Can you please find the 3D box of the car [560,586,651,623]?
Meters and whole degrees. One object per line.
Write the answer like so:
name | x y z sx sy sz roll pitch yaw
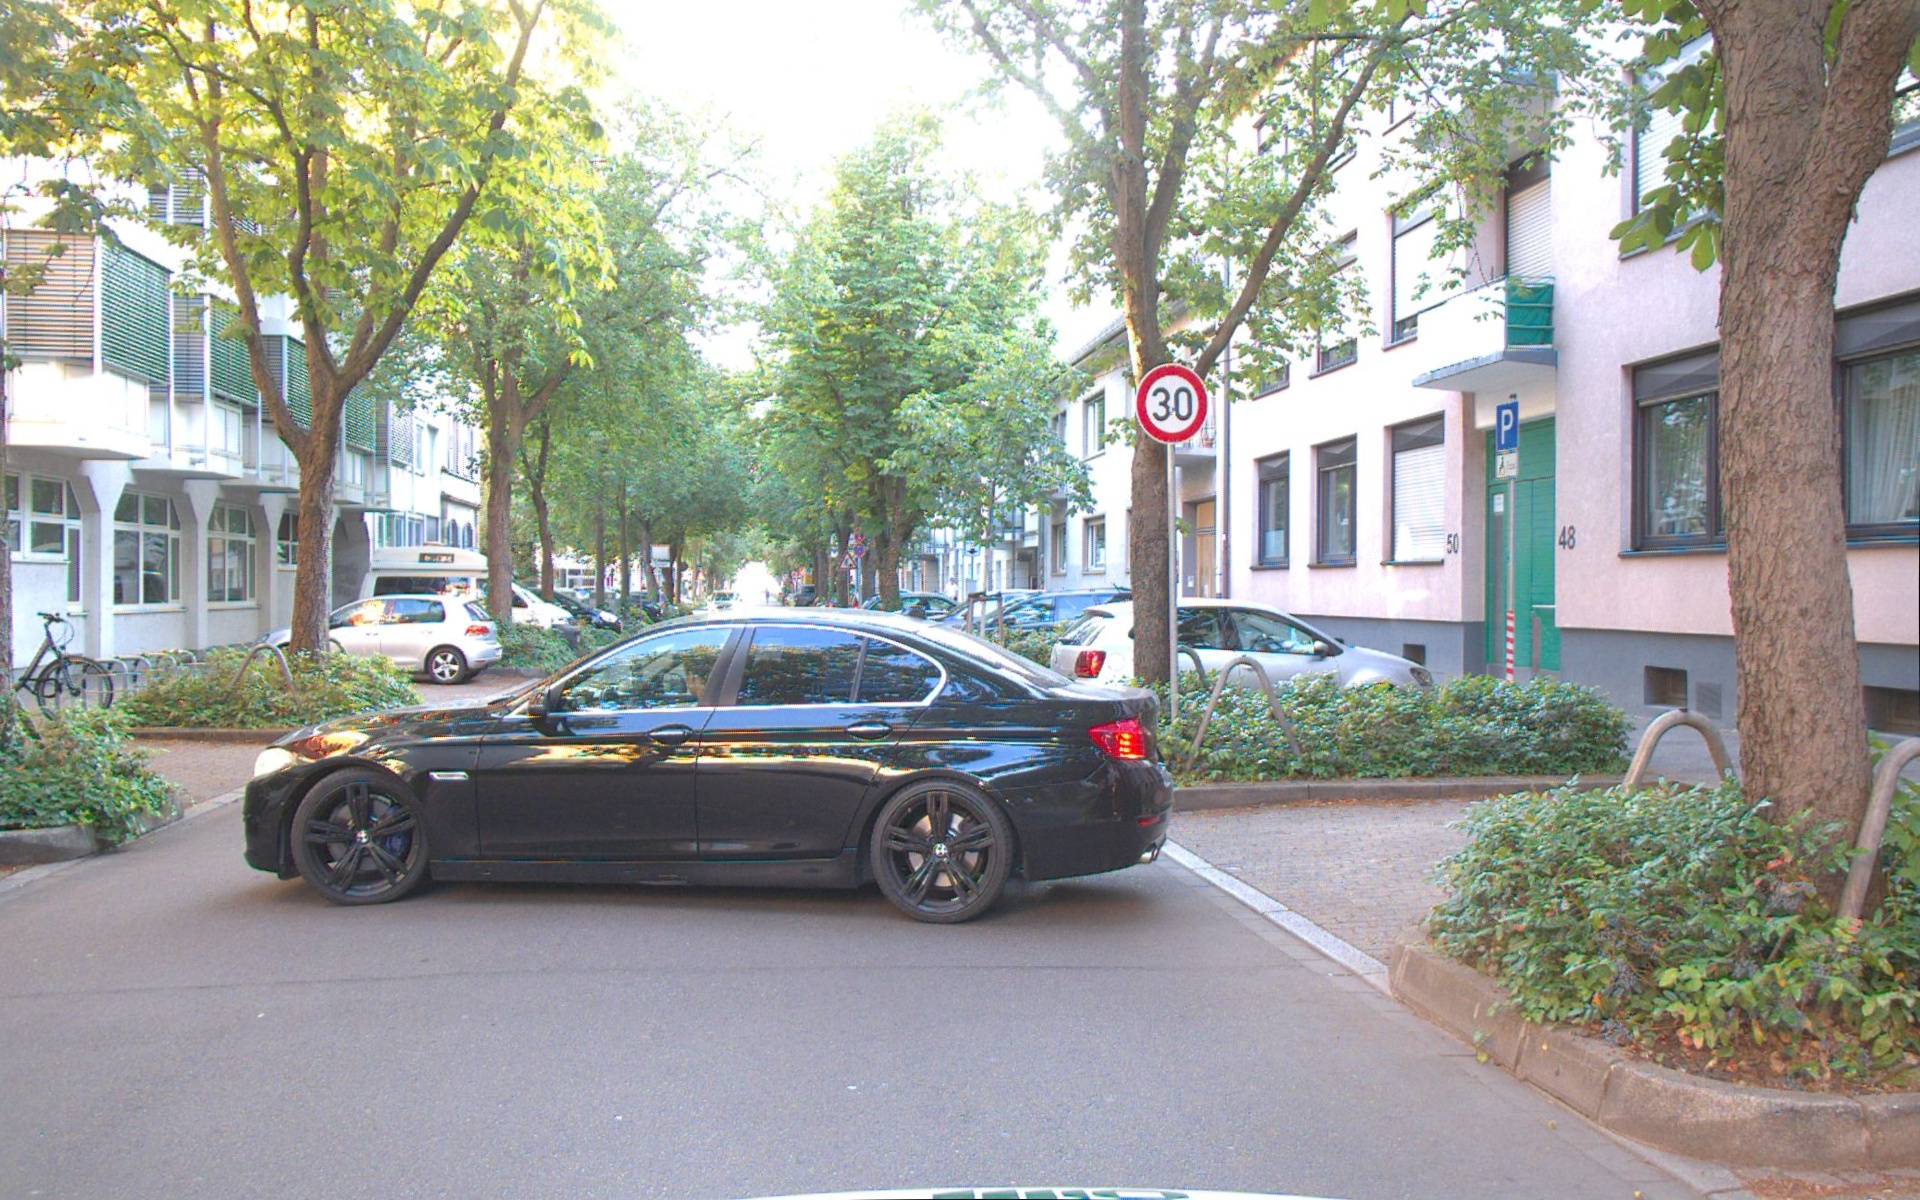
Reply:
car | -16.218 0.181 75.882 3.891 1.647 1.783 0 0 -6

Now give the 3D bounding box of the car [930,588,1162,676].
car | 1.510 0.547 29.684 3.894 1.502 1.781 0 0 -9

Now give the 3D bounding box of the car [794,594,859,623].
car | -8.147 0.493 100.632 3.891 1.713 1.783 0 0 -6

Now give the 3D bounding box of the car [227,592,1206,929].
car | -1.104 0.719 8.567 4.644 1.506 1.801 0 0 6

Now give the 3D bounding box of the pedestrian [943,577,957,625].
pedestrian | -0.431 0.052 71.049 0.577 2.049 0.669 0 0 -6

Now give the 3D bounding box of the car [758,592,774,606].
car | -22.404 -0.080 191.373 1.787 1.557 3.995 -1 0 -6

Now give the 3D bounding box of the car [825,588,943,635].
car | -2.615 0.380 56.765 3.894 1.554 1.782 0 0 -9

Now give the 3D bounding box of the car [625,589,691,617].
car | -18.640 0.172 102.188 3.891 1.647 1.783 0 0 -6

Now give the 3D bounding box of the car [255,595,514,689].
car | -9.854 0.689 28.567 3.891 1.544 1.783 0 0 -6

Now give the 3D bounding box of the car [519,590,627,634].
car | -14.998 0.461 64.262 3.891 1.647 1.783 0 0 -6

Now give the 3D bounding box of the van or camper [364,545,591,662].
van or camper | -10.663 0.069 36.870 4.575 2.521 1.997 0 0 -7

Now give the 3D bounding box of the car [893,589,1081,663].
car | 0.553 0.538 36.137 3.893 1.554 1.782 0 0 -8

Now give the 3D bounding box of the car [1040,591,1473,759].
car | 2.815 0.673 16.094 3.836 1.502 1.661 0 0 -9

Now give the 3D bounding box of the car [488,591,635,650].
car | -11.480 0.580 47.848 3.891 1.647 1.783 0 0 -6

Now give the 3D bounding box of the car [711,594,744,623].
car | -13.260 0.476 94.475 1.745 1.589 4.162 0 0 -6

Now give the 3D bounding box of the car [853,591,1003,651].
car | -0.897 0.549 44.925 3.893 1.554 1.782 0 0 -8

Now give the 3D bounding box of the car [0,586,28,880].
car | -7.098 0.713 7.856 4.272 1.544 1.782 0 0 -7
